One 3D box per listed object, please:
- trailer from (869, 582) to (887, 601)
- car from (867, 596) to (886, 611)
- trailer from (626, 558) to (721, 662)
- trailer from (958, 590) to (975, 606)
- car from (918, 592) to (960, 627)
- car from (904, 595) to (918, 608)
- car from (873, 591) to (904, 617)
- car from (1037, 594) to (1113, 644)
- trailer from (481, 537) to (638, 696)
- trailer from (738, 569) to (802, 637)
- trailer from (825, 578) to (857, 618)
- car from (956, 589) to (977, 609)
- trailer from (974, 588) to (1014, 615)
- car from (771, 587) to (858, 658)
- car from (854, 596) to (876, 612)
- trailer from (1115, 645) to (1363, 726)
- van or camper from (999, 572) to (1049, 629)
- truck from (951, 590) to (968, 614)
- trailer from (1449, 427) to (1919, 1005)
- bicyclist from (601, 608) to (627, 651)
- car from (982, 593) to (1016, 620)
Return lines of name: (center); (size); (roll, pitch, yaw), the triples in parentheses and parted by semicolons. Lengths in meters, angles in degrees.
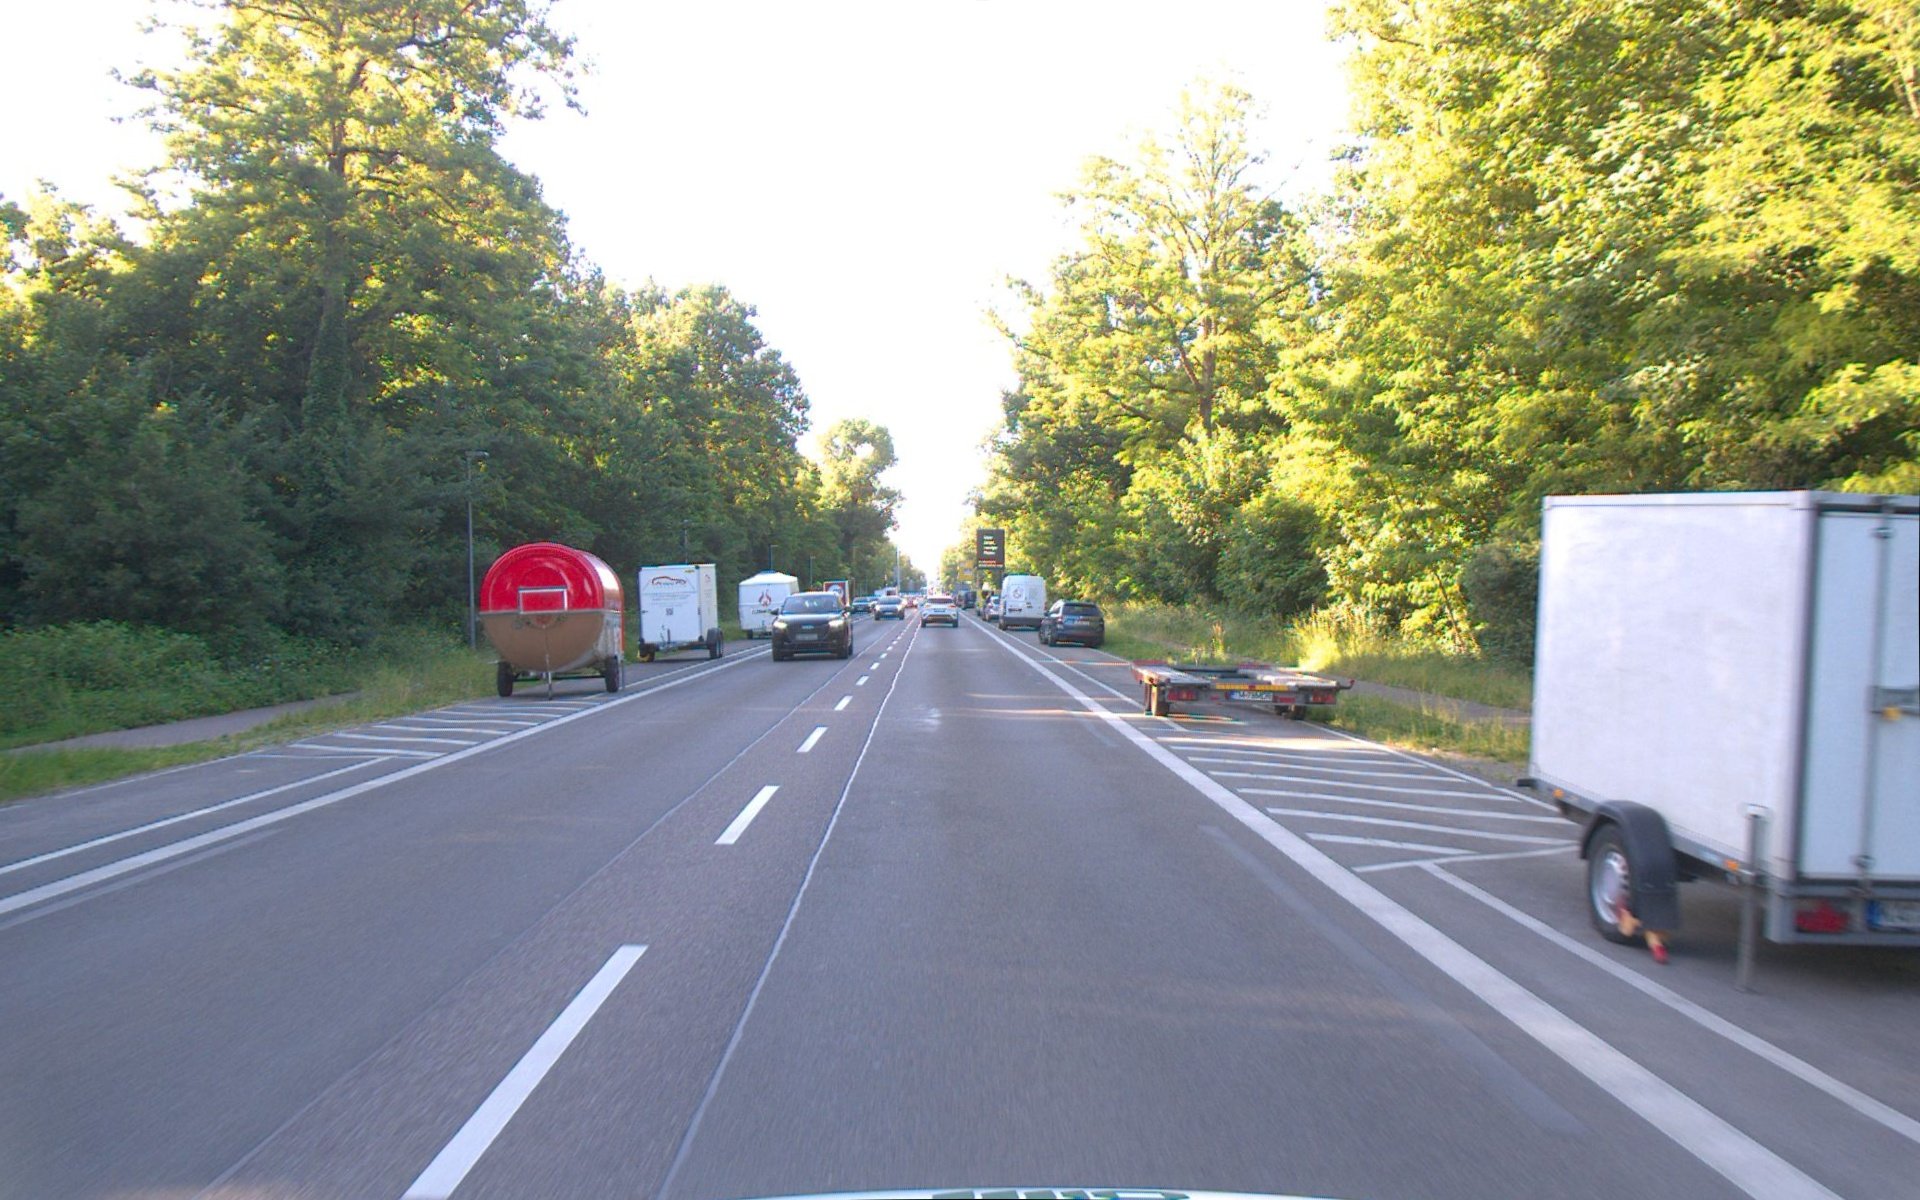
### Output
trailer: (-10.833, -1.113, 219.199); (2.032, 2.333, 3.487); (-1, 0, 1)
car: (-9.083, 0.340, 179.880); (1.829, 1.476, 4.070); (-3, 0, -1)
trailer: (-7.343, 0.241, 42.741); (2.025, 2.524, 3.558); (-1, 0, -4)
trailer: (0.844, -0.236, 219.057); (1.580, 2.149, 2.397); (0, 0, 20)
car: (-1.022, 0.446, 80.488); (1.953, 1.668, 3.999); (-1, 0, -1)
car: (-5.578, 0.189, 188.356); (1.571, 1.445, 3.518); (-2, 0, -1)
car: (-4.490, 0.280, 103.704); (1.782, 1.559, 4.529); (-1, 0, -1)
car: (3.637, 0.581, 53.180); (1.798, 1.445, 4.593); (2, 0, -4)
trailer: (-6.802, 0.255, 28.460); (2.025, 2.524, 3.558); (-1, 0, -4)
trailer: (-7.493, 0.095, 65.567); (2.300, 2.573, 4.341); (-1, 0, -4)
trailer: (-8.204, -0.128, 114.232); (1.953, 2.667, 4.085); (-1, 0, -1)
car: (0.674, -0.082, 174.808); (2.070, 2.049, 5.039); (2, 0, -1)
trailer: (2.596, 0.087, 125.466); (1.921, 2.058, 3.845); (0, 0, 19)
car: (-3.543, 0.528, 40.948); (1.781, 1.614, 4.458); (-1, 0, -1)
car: (-8.777, 0.347, 152.416); (1.817, 1.490, 4.783); (0, 0, -1)
trailer: (3.625, 1.112, 22.718); (2.383, 0.812, 5.658); (1, 0, -1)
van or camper: (2.946, 0.021, 76.918); (2.082, 2.526, 6.304); (0, 0, 0)
truck: (-0.119, 0.315, 248.919); (2.454, 3.425, 7.106); (1, 0, 0)
trailer: (3.836, 0.429, 8.111); (1.719, 2.199, 3.538); (0, 0, -2)
bicyclist: (-11.358, 0.962, 54.335); (0.657, 1.388, 0.905); (1, 0, -1)
car: (2.289, 0.378, 97.384); (1.700, 1.514, 4.399); (2, 0, -2)
